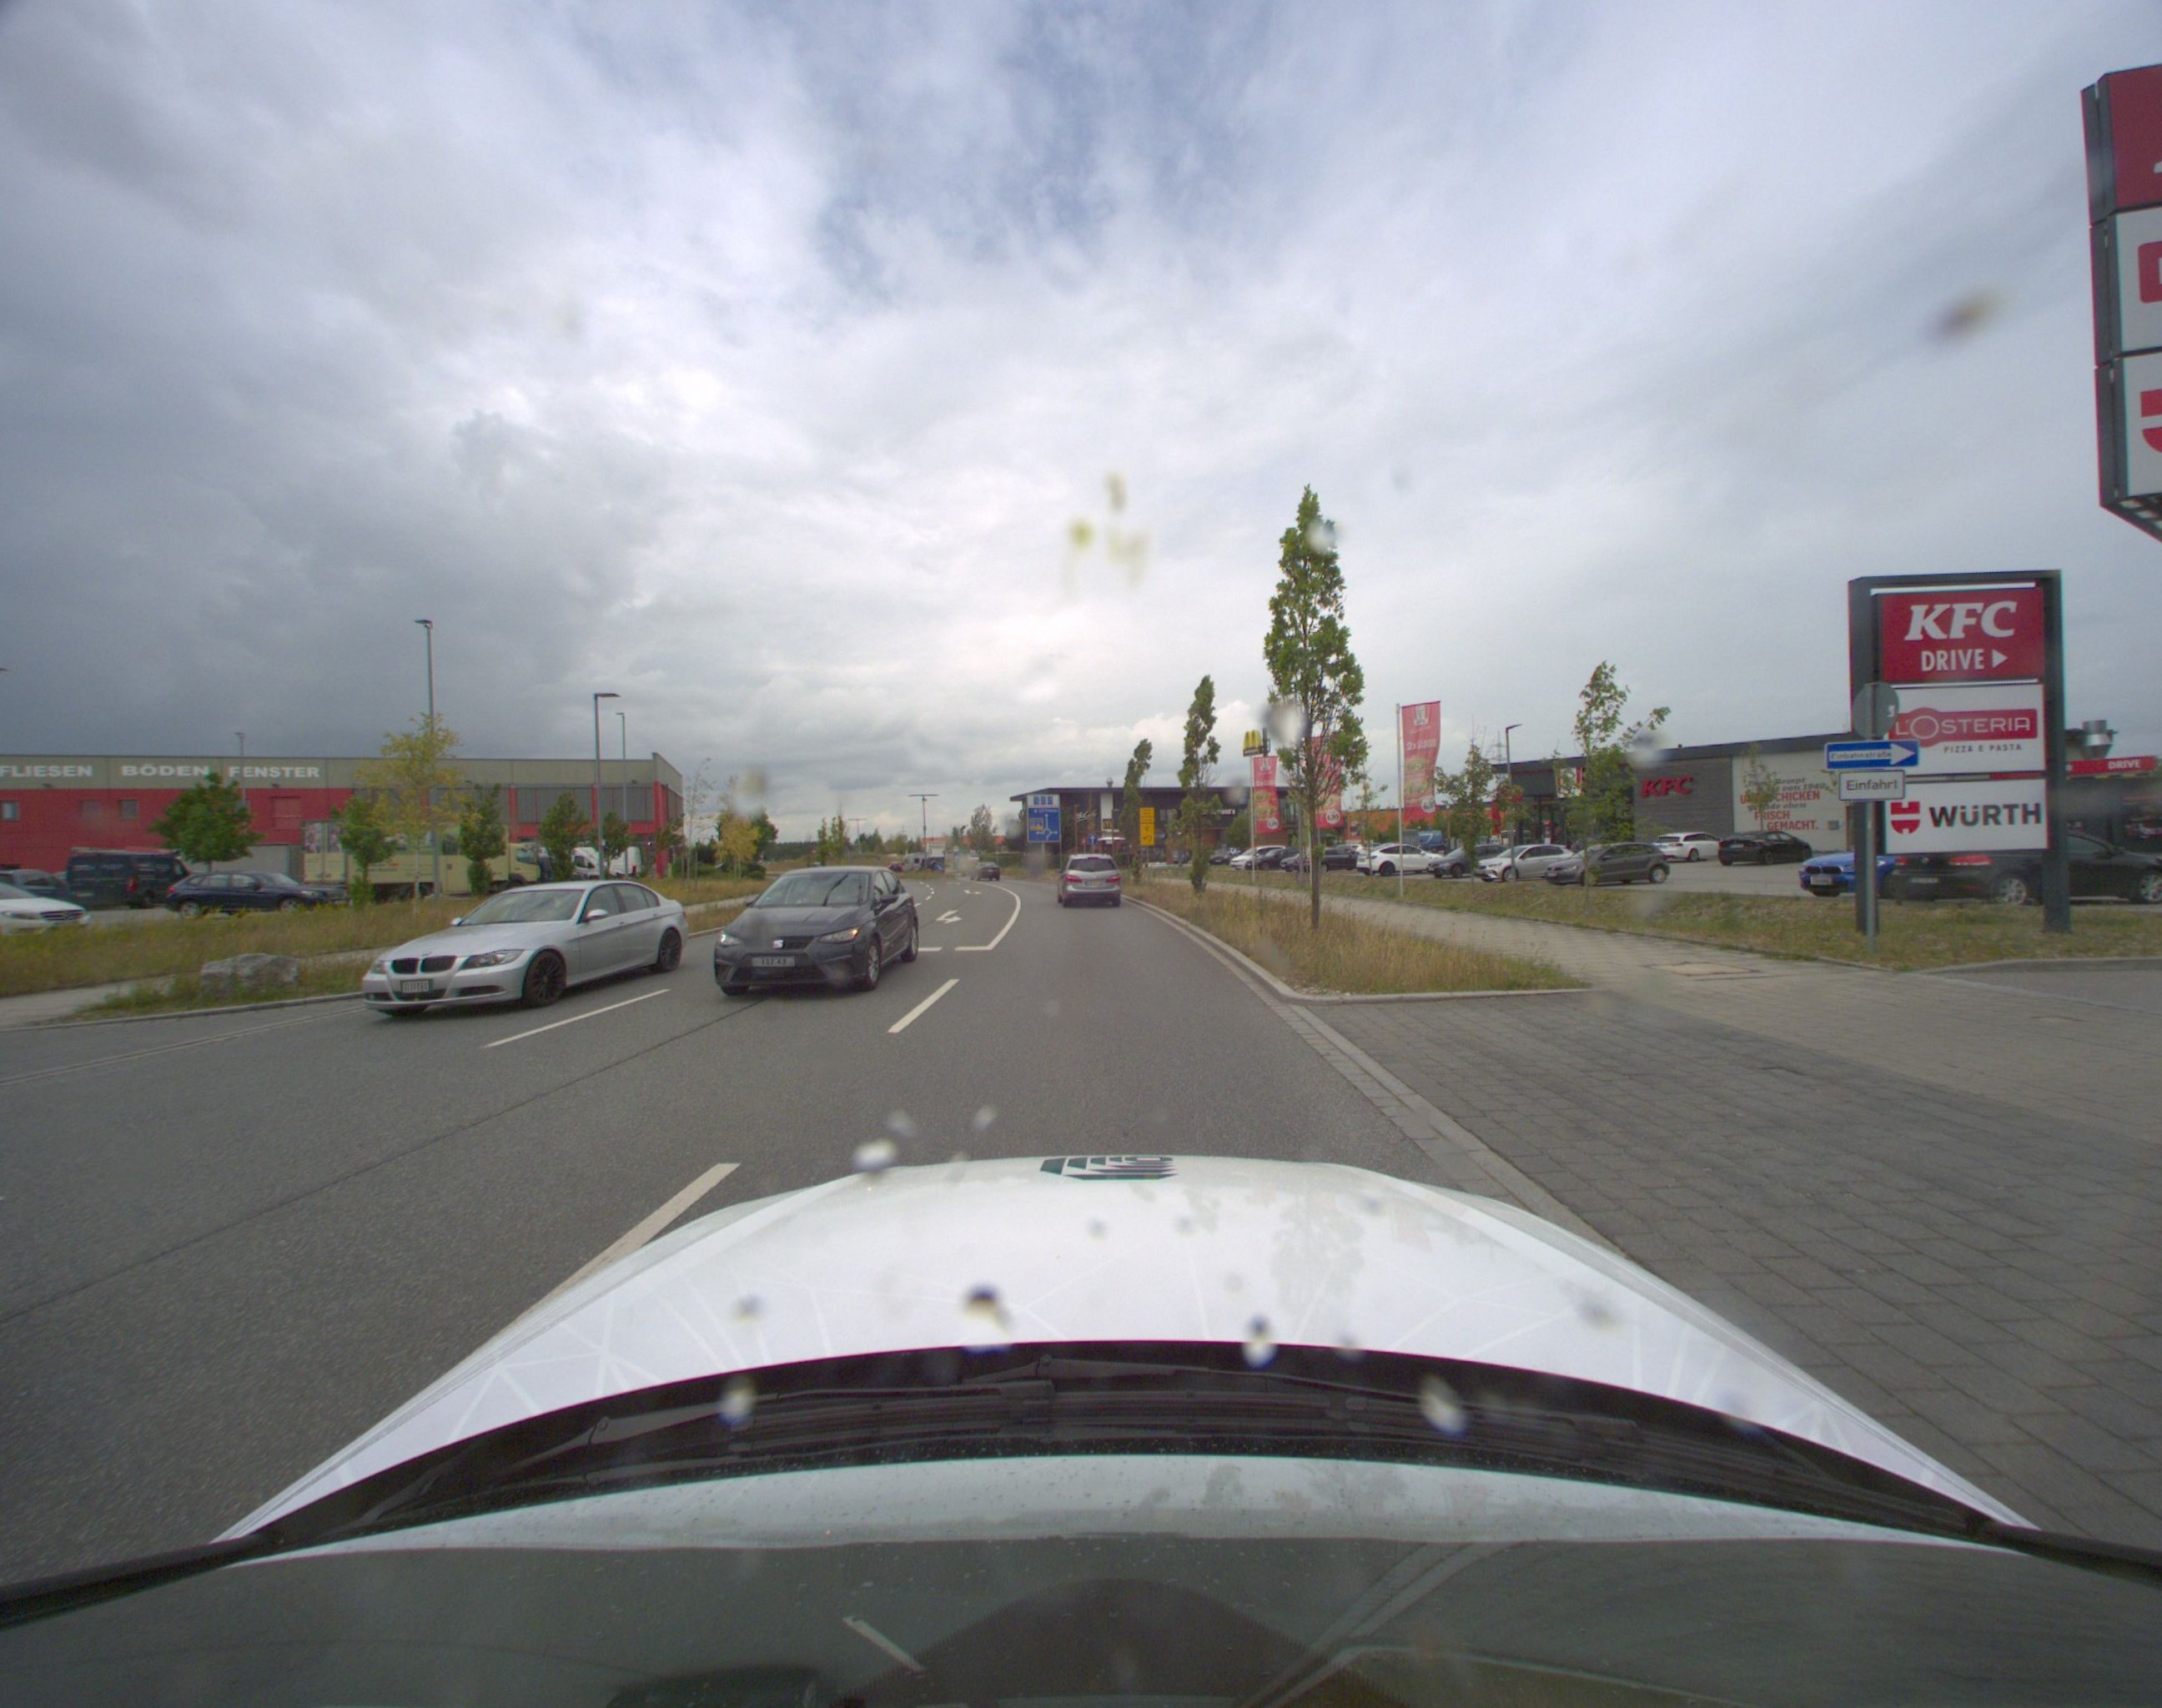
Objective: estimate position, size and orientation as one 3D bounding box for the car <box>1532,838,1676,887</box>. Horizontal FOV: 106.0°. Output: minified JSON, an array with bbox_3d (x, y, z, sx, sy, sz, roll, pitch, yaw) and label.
[{"bbox_3d":[17.896,0.279,27.981,3.750,1.494,1.887,-2,0,-4],"label":"car"}]

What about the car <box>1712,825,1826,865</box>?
[{"bbox_3d":[30.556,-0.381,36.169,4.580,1.519,1.963,-3,0,-22],"label":"car"}]

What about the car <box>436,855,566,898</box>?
[{"bbox_3d":[-29.574,1.111,41.709,4.905,1.990,2.170,-2,0,-12],"label":"car"}]

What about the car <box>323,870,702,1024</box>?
[{"bbox_3d":[-7.016,1.022,10.806,1.831,1.417,4.498,-3,0,-1],"label":"car"}]

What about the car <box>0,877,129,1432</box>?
[{"bbox_3d":[-3.731,0.795,0.291,1.763,1.438,4.230,-2,-1,0],"label":"car"}]

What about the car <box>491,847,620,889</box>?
[{"bbox_3d":[-31.504,0.817,49.076,6.089,2.307,2.195,-2,0,-20],"label":"car"}]

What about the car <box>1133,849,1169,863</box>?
[{"bbox_3d":[8.659,0.264,100.903,4.003,1.717,1.985,-1,0,-23],"label":"car"}]

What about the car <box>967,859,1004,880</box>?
[{"bbox_3d":[-7.056,1.136,59.865,1.850,1.418,4.197,-2,0,-19],"label":"car"}]

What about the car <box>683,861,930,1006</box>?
[{"bbox_3d":[-3.248,0.847,10.607,1.824,1.420,4.243,-2,0,-1],"label":"car"}]

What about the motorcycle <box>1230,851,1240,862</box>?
[{"bbox_3d":[18.123,0.263,95.797,0.850,1.244,1.975,-1,0,16],"label":"motorcycle"}]

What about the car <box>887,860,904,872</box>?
[{"bbox_3d":[-24.551,1.621,107.735,1.994,1.515,3.986,-2,0,-10],"label":"car"}]

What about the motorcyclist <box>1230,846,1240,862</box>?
[{"bbox_3d":[18.111,-0.027,95.812,0.954,1.832,0.849,-1,0,15],"label":"motorcyclist"}]

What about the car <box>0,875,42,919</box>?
[{"bbox_3d":[-44.999,1.807,32.882,2.002,1.729,3.970,-2,0,-22],"label":"car"}]

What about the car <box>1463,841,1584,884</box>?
[{"bbox_3d":[17.772,0.329,32.791,3.856,1.481,1.899,-3,0,-5],"label":"car"}]

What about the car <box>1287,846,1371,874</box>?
[{"bbox_3d":[15.038,0.335,49.453,4.526,1.469,2.021,-2,0,-16],"label":"car"}]

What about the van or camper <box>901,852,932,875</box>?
[{"bbox_3d":[-18.168,1.046,89.921,2.313,2.506,5.165,-1,0,-23],"label":"van or camper"}]

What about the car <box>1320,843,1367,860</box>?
[{"bbox_3d":[27.980,-0.295,86.776,4.680,1.656,2.010,-2,0,18],"label":"car"}]

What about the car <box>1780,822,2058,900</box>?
[{"bbox_3d":[18.593,0.144,18.227,4.250,1.520,1.965,-2,0,-1],"label":"car"}]

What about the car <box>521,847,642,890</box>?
[{"bbox_3d":[-32.884,0.922,53.880,6.428,2.598,2.229,-2,0,-19],"label":"car"}]

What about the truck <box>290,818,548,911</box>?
[{"bbox_3d":[-28.270,0.422,35.472,2.826,3.541,8.468,-1,0,18],"label":"truck"}]

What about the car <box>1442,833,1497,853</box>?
[{"bbox_3d":[39.183,-1.133,82.220,1.875,1.816,4.636,-2,0,-40],"label":"car"}]

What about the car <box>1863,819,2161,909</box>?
[{"bbox_3d":[17.976,0.176,15.628,3.972,1.494,1.982,-2,0,1],"label":"car"}]

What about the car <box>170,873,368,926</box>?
[{"bbox_3d":[-26.604,1.466,26.842,4.227,1.435,1.993,-2,0,-7],"label":"car"}]

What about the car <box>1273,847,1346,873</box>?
[{"bbox_3d":[14.709,0.357,52.407,4.094,1.438,1.932,-3,0,-17],"label":"car"}]

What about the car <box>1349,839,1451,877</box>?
[{"bbox_3d":[16.655,0.194,42.620,4.563,1.645,2.081,-3,0,-11],"label":"car"}]

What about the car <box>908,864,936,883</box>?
[{"bbox_3d":[-15.923,1.921,81.329,2.065,1.826,4.754,-2,0,-20],"label":"car"}]

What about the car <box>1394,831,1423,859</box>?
[{"bbox_3d":[31.404,-0.894,78.188,2.255,2.501,7.365,-2,0,20],"label":"car"}]

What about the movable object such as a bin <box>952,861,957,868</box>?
[{"bbox_3d":[-13.823,1.173,88.841,0.458,0.798,0.377,-2,-1,-23],"label":"movable object such as a bin"}]

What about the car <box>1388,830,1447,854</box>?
[{"bbox_3d":[38.573,-1.330,93.447,5.971,2.528,2.295,-2,0,27],"label":"car"}]

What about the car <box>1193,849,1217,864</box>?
[{"bbox_3d":[14.575,0.263,95.590,2.098,1.717,4.251,-1,0,18],"label":"car"}]

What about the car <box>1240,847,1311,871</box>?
[{"bbox_3d":[13.654,0.339,57.228,4.481,1.436,2.061,-2,0,-19],"label":"car"}]

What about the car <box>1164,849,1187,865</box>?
[{"bbox_3d":[10.914,0.332,93.599,1.979,1.717,4.016,-1,0,15],"label":"car"}]

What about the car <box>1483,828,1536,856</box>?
[{"bbox_3d":[38.411,-1.064,73.159,2.512,2.351,5.707,-2,0,9],"label":"car"}]

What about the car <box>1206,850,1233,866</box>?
[{"bbox_3d":[12.112,0.334,70.857,1.797,1.313,3.867,-2,0,17],"label":"car"}]

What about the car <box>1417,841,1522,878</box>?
[{"bbox_3d":[17.953,0.242,37.729,3.983,1.485,1.936,-3,-1,-7],"label":"car"}]

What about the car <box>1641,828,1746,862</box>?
[{"bbox_3d":[31.220,-0.461,41.530,4.577,1.519,2.067,-3,0,-20],"label":"car"}]

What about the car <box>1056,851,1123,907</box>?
[{"bbox_3d":[0.205,0.737,25.624,1.727,1.600,3.800,-1,0,-5],"label":"car"}]

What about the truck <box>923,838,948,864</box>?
[{"bbox_3d":[-24.044,-0.427,134.410,3.139,3.907,9.287,-2,0,-15],"label":"truck"}]

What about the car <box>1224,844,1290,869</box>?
[{"bbox_3d":[12.916,0.175,59.628,4.364,1.639,1.924,-2,0,-21],"label":"car"}]

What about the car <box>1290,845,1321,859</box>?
[{"bbox_3d":[27.598,-0.254,99.998,1.975,1.722,4.023,-2,0,45],"label":"car"}]

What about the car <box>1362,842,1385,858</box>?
[{"bbox_3d":[28.069,-0.367,78.010,1.933,1.443,4.240,-2,0,21],"label":"car"}]

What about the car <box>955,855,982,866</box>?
[{"bbox_3d":[-19.764,1.091,142.673,4.606,1.757,1.992,-2,0,-13],"label":"car"}]

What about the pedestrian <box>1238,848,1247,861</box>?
[{"bbox_3d":[17.209,0.044,86.873,0.760,1.439,0.628,-2,0,37],"label":"pedestrian"}]

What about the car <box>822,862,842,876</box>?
[{"bbox_3d":[-32.005,1.939,104.507,1.807,1.669,4.292,-4,1,-24],"label":"car"}]

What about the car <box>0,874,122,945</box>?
[{"bbox_3d":[-26.249,1.352,19.268,4.247,1.559,1.983,-2,0,-10],"label":"car"}]

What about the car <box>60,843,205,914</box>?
[{"bbox_3d":[-40.167,0.980,34.702,2.069,2.690,5.102,-2,0,-26],"label":"car"}]
